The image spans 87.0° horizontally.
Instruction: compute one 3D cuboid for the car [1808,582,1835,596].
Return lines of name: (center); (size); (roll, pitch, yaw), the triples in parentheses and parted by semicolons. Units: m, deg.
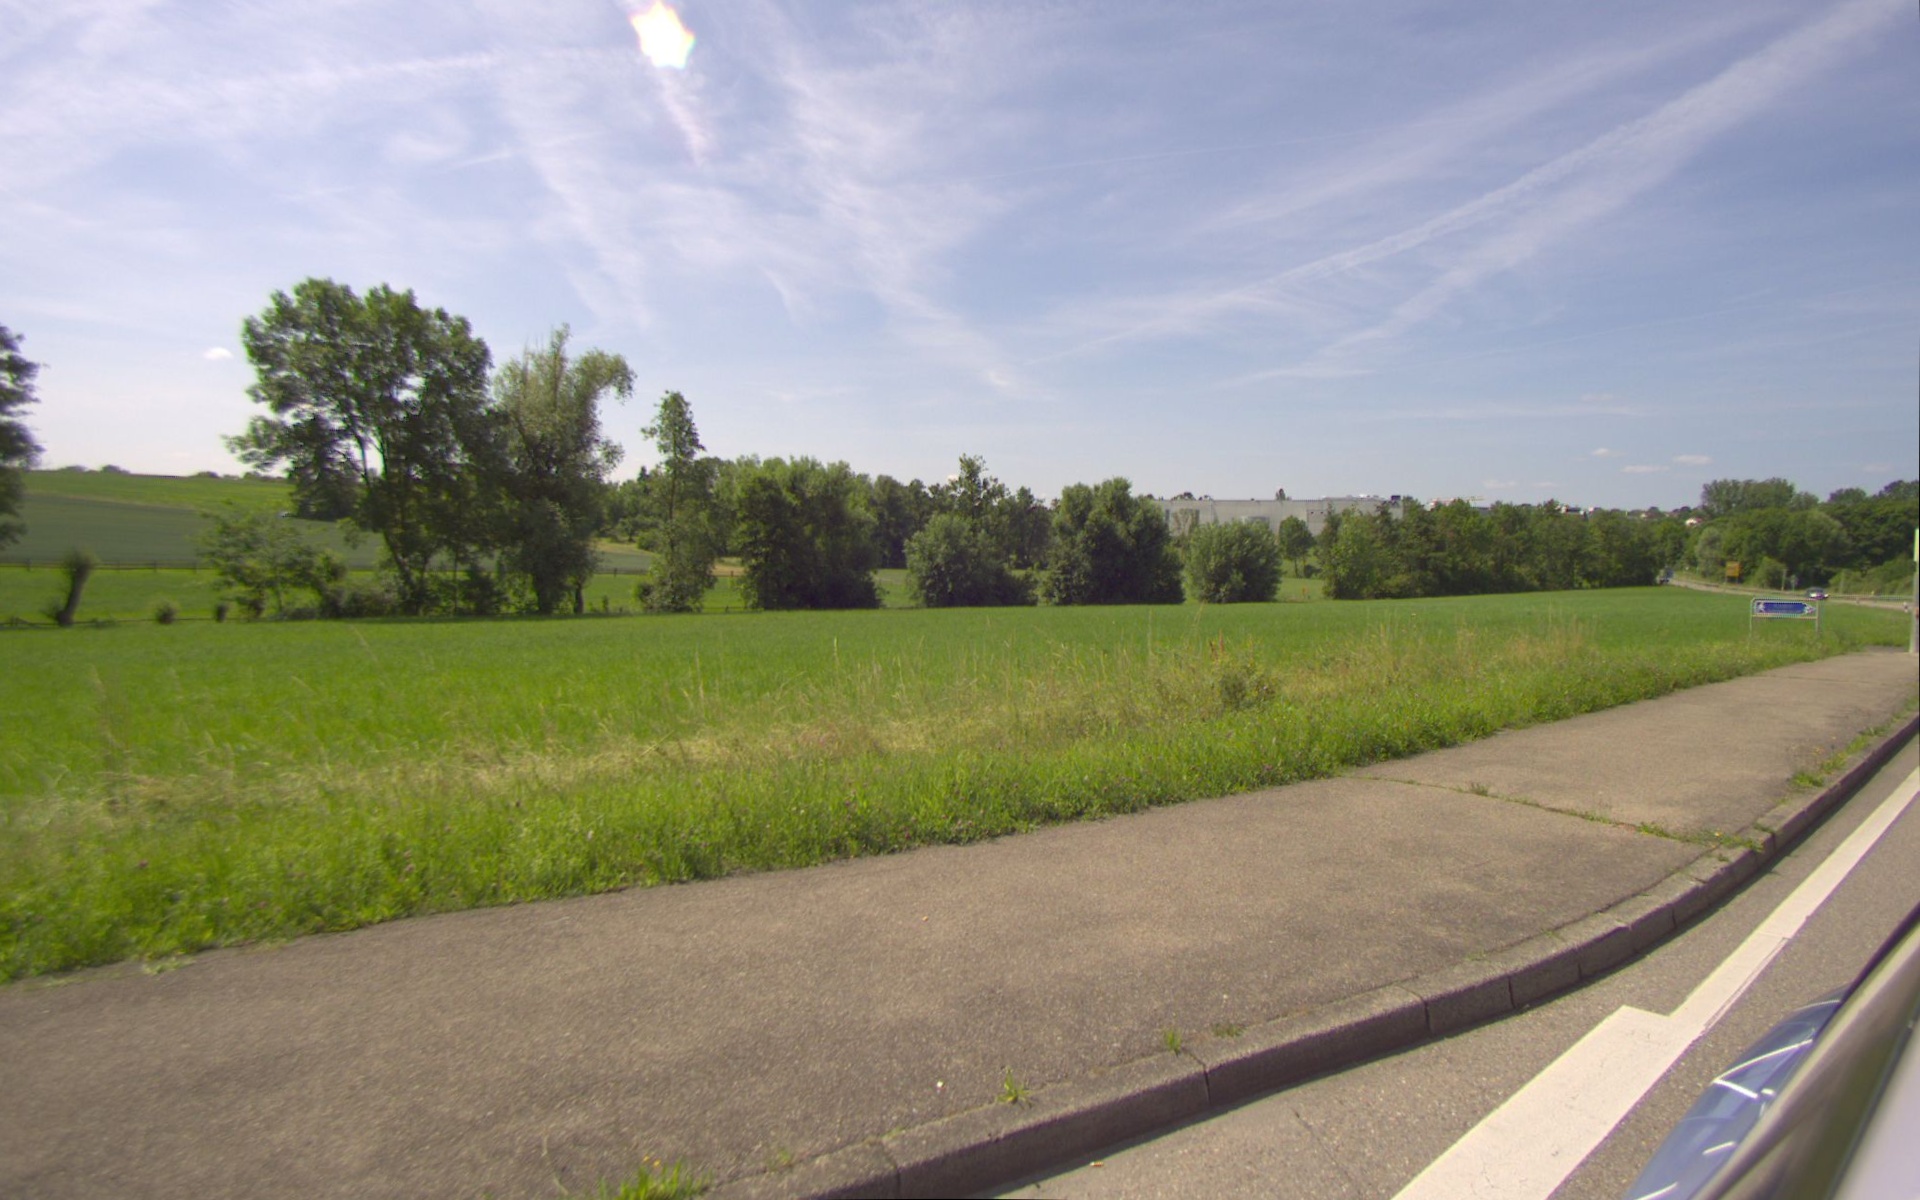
car: (105.378, -1.340, 123.796); (1.986, 1.605, 3.953); (0, 1, 33)
